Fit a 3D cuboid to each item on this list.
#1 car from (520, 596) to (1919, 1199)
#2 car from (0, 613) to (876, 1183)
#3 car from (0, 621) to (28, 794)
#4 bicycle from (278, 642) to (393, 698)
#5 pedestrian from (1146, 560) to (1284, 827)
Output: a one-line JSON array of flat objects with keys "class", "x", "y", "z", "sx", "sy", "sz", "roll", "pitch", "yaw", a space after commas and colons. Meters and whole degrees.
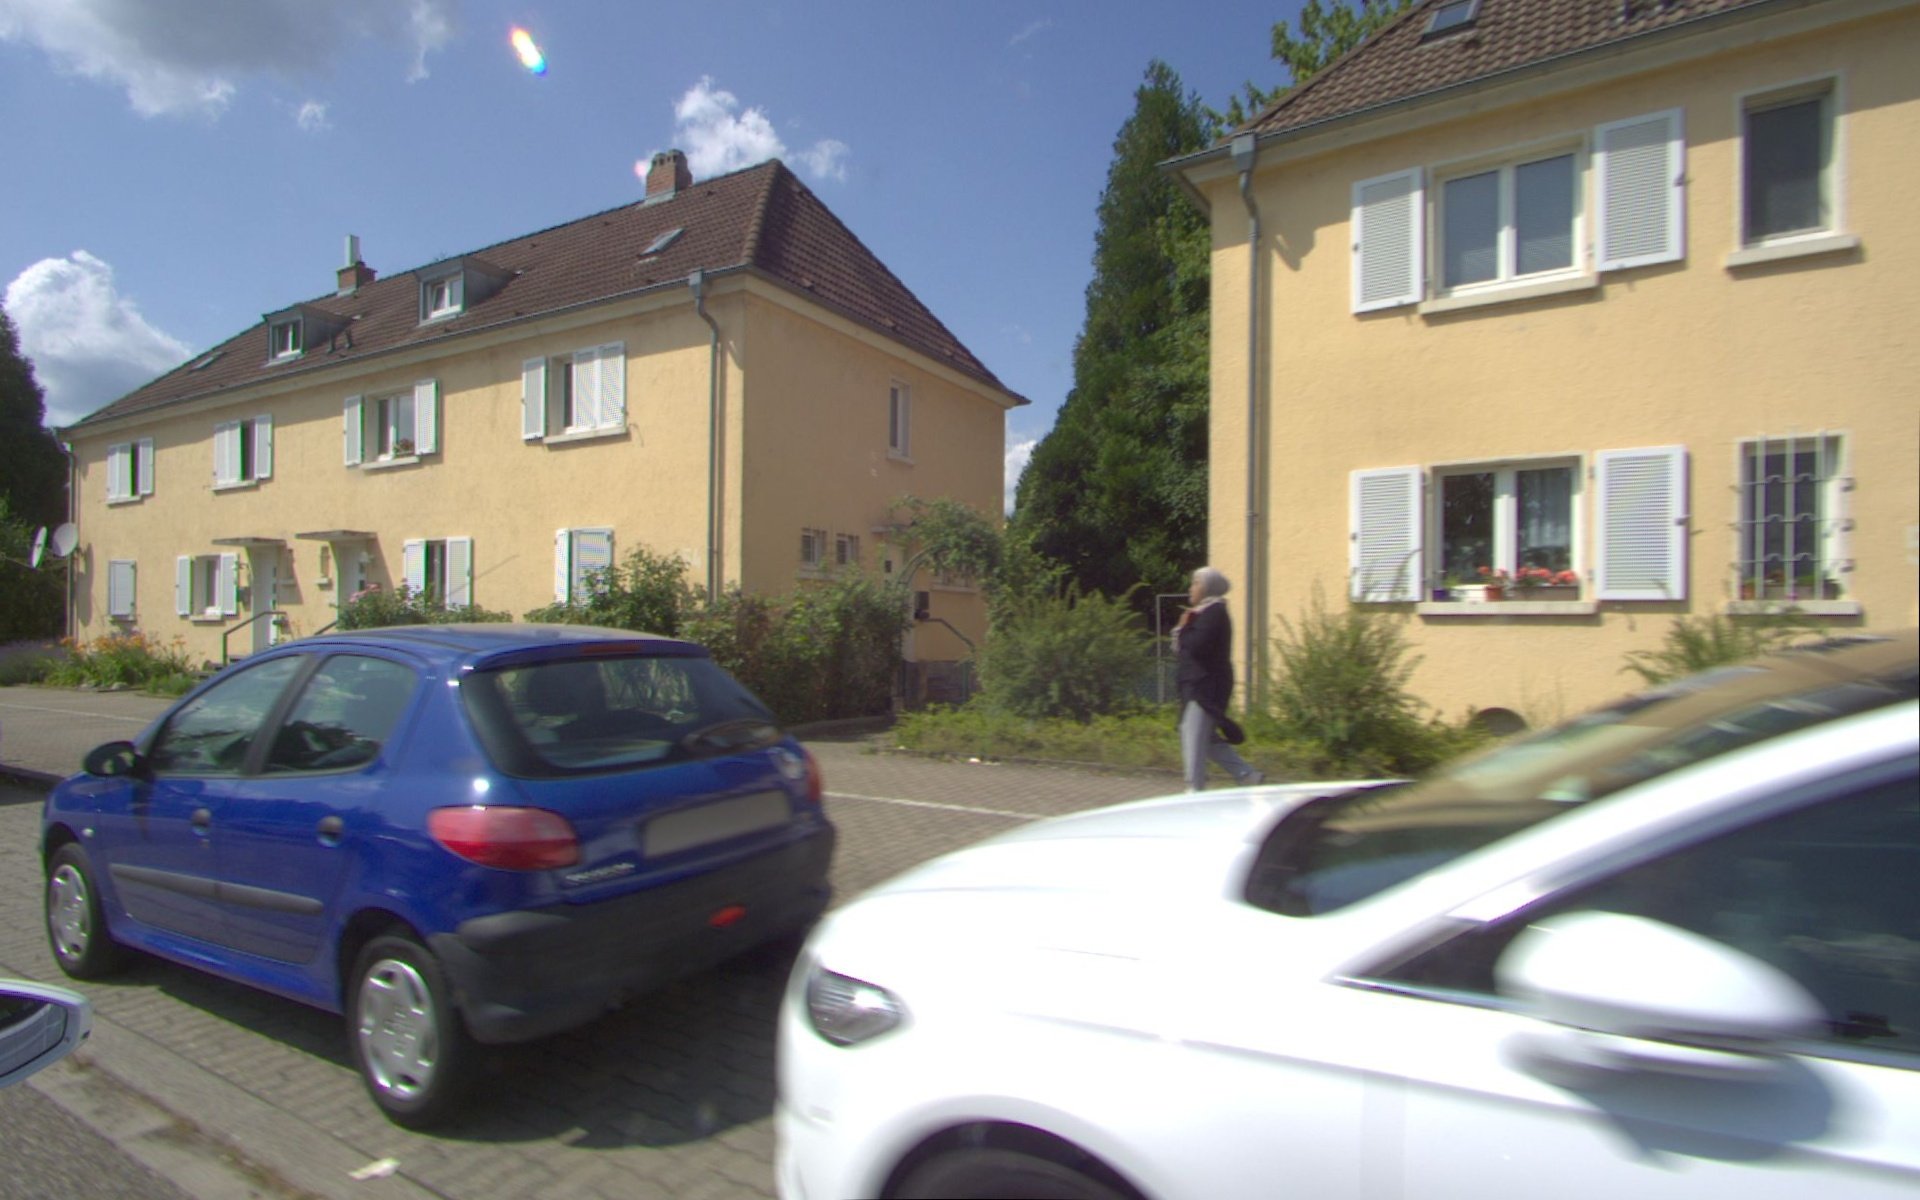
[{"class": "car", "x": 1.597, "y": 0.733, "z": 1.569, "sx": 4.695, "sy": 1.477, "sz": 1.796, "roll": -1, "pitch": -1, "yaw": 31}, {"class": "car", "x": -2.424, "y": 0.780, "z": 4.258, "sx": 3.942, "sy": 1.436, "sz": 1.618, "roll": 0, "pitch": 0, "yaw": 31}, {"class": "car", "x": -10.007, "y": 0.904, "z": 8.725, "sx": 3.942, "sy": 1.436, "sz": 1.761, "roll": 0, "pitch": 0, "yaw": 31}, {"class": "bicycle", "x": -11.440, "y": 1.262, "z": 18.409, "sx": 0.361, "sy": 0.968, "sz": 1.860, "roll": 0, "pitch": -2, "yaw": 27}, {"class": "pedestrian", "x": 1.749, "y": 0.605, "z": 6.812, "sx": 0.628, "sy": 1.673, "sz": 0.851, "roll": 0, "pitch": -2, "yaw": 36}]
